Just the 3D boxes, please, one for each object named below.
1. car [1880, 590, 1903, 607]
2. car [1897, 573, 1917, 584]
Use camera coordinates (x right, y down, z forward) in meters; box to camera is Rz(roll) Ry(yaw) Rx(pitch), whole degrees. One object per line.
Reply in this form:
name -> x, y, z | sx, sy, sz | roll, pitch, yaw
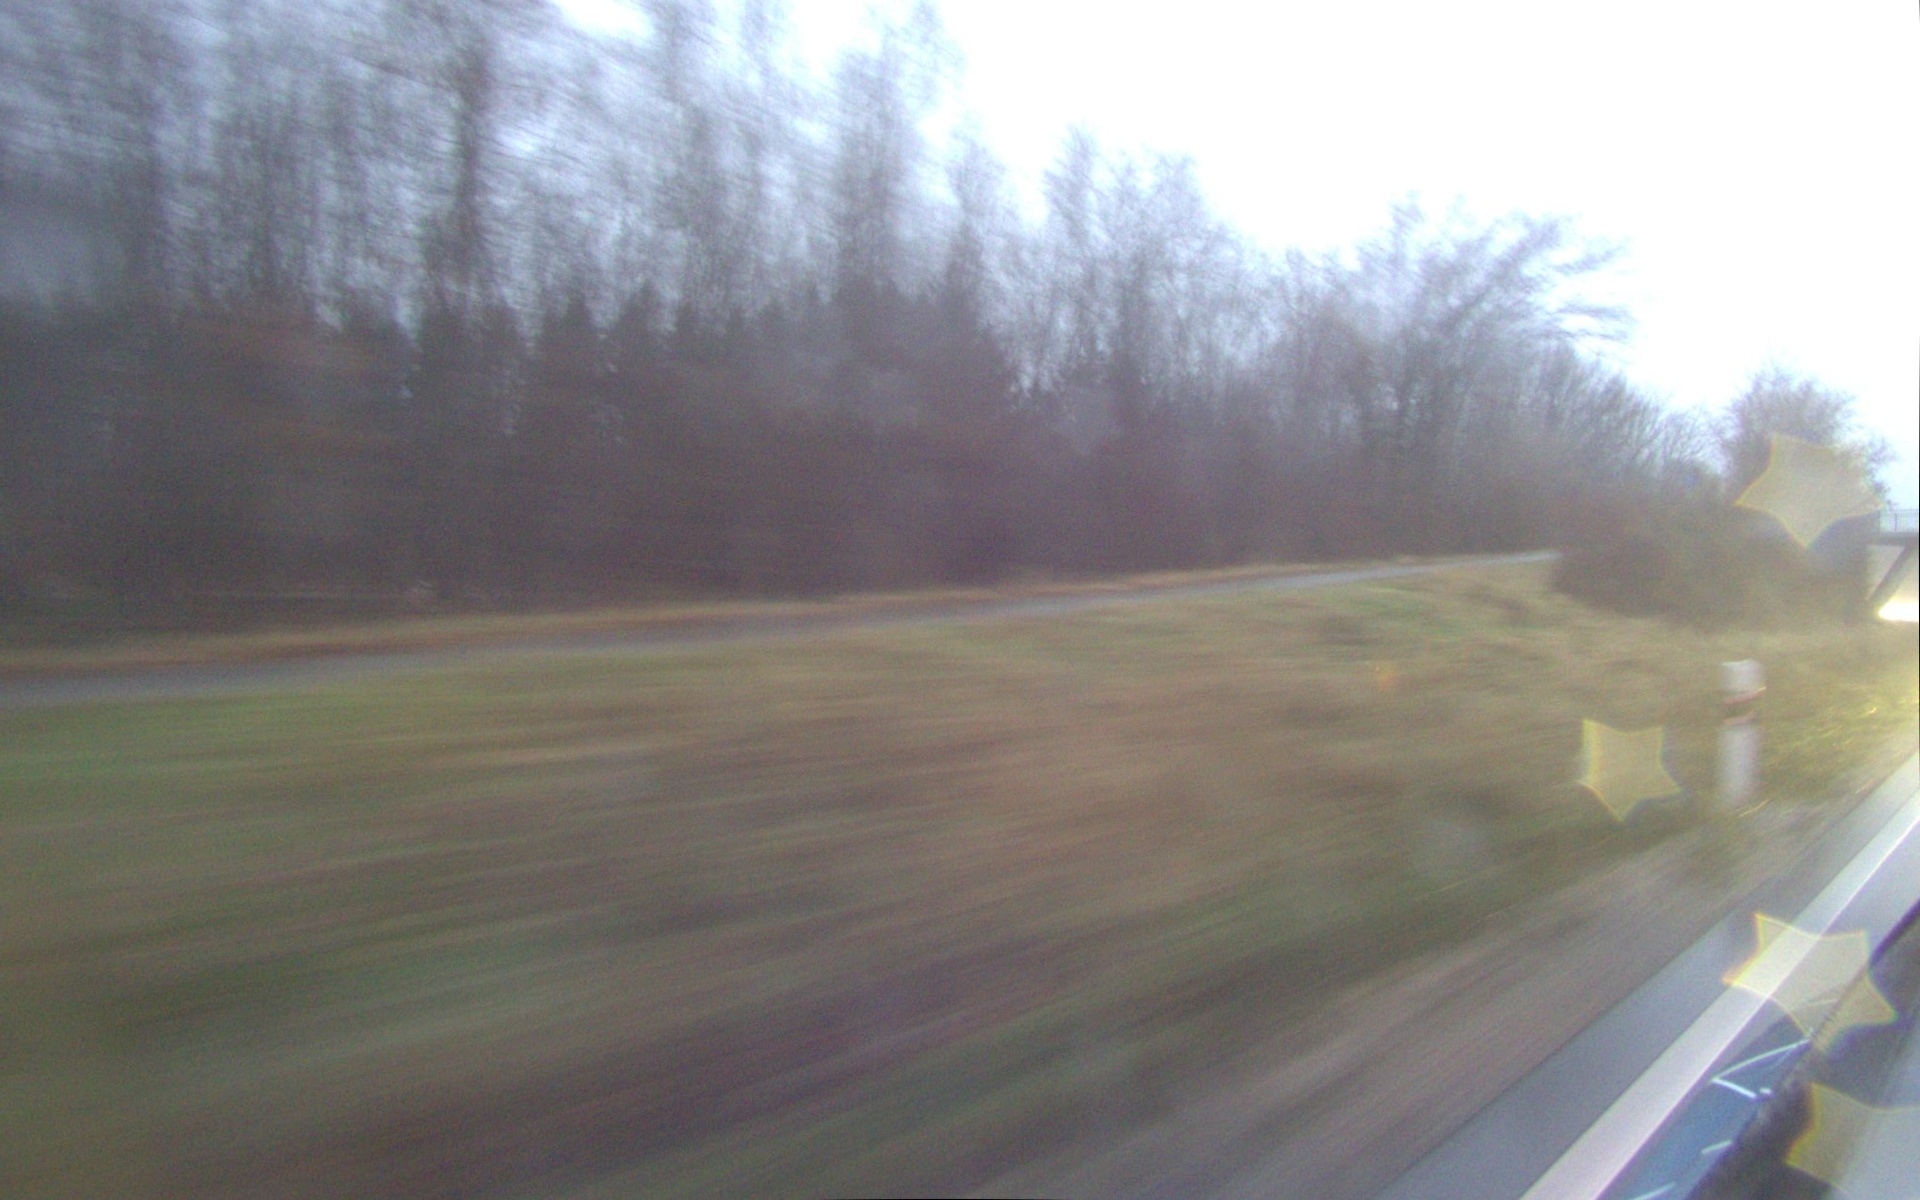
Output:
car -> 105.153, -0.172, 114.288 | 1.694, 1.752, 3.944 | 0, 2, 40
car -> 144.951, -3.275, 154.943 | 1.899, 1.669, 4.660 | 0, 0, 39
